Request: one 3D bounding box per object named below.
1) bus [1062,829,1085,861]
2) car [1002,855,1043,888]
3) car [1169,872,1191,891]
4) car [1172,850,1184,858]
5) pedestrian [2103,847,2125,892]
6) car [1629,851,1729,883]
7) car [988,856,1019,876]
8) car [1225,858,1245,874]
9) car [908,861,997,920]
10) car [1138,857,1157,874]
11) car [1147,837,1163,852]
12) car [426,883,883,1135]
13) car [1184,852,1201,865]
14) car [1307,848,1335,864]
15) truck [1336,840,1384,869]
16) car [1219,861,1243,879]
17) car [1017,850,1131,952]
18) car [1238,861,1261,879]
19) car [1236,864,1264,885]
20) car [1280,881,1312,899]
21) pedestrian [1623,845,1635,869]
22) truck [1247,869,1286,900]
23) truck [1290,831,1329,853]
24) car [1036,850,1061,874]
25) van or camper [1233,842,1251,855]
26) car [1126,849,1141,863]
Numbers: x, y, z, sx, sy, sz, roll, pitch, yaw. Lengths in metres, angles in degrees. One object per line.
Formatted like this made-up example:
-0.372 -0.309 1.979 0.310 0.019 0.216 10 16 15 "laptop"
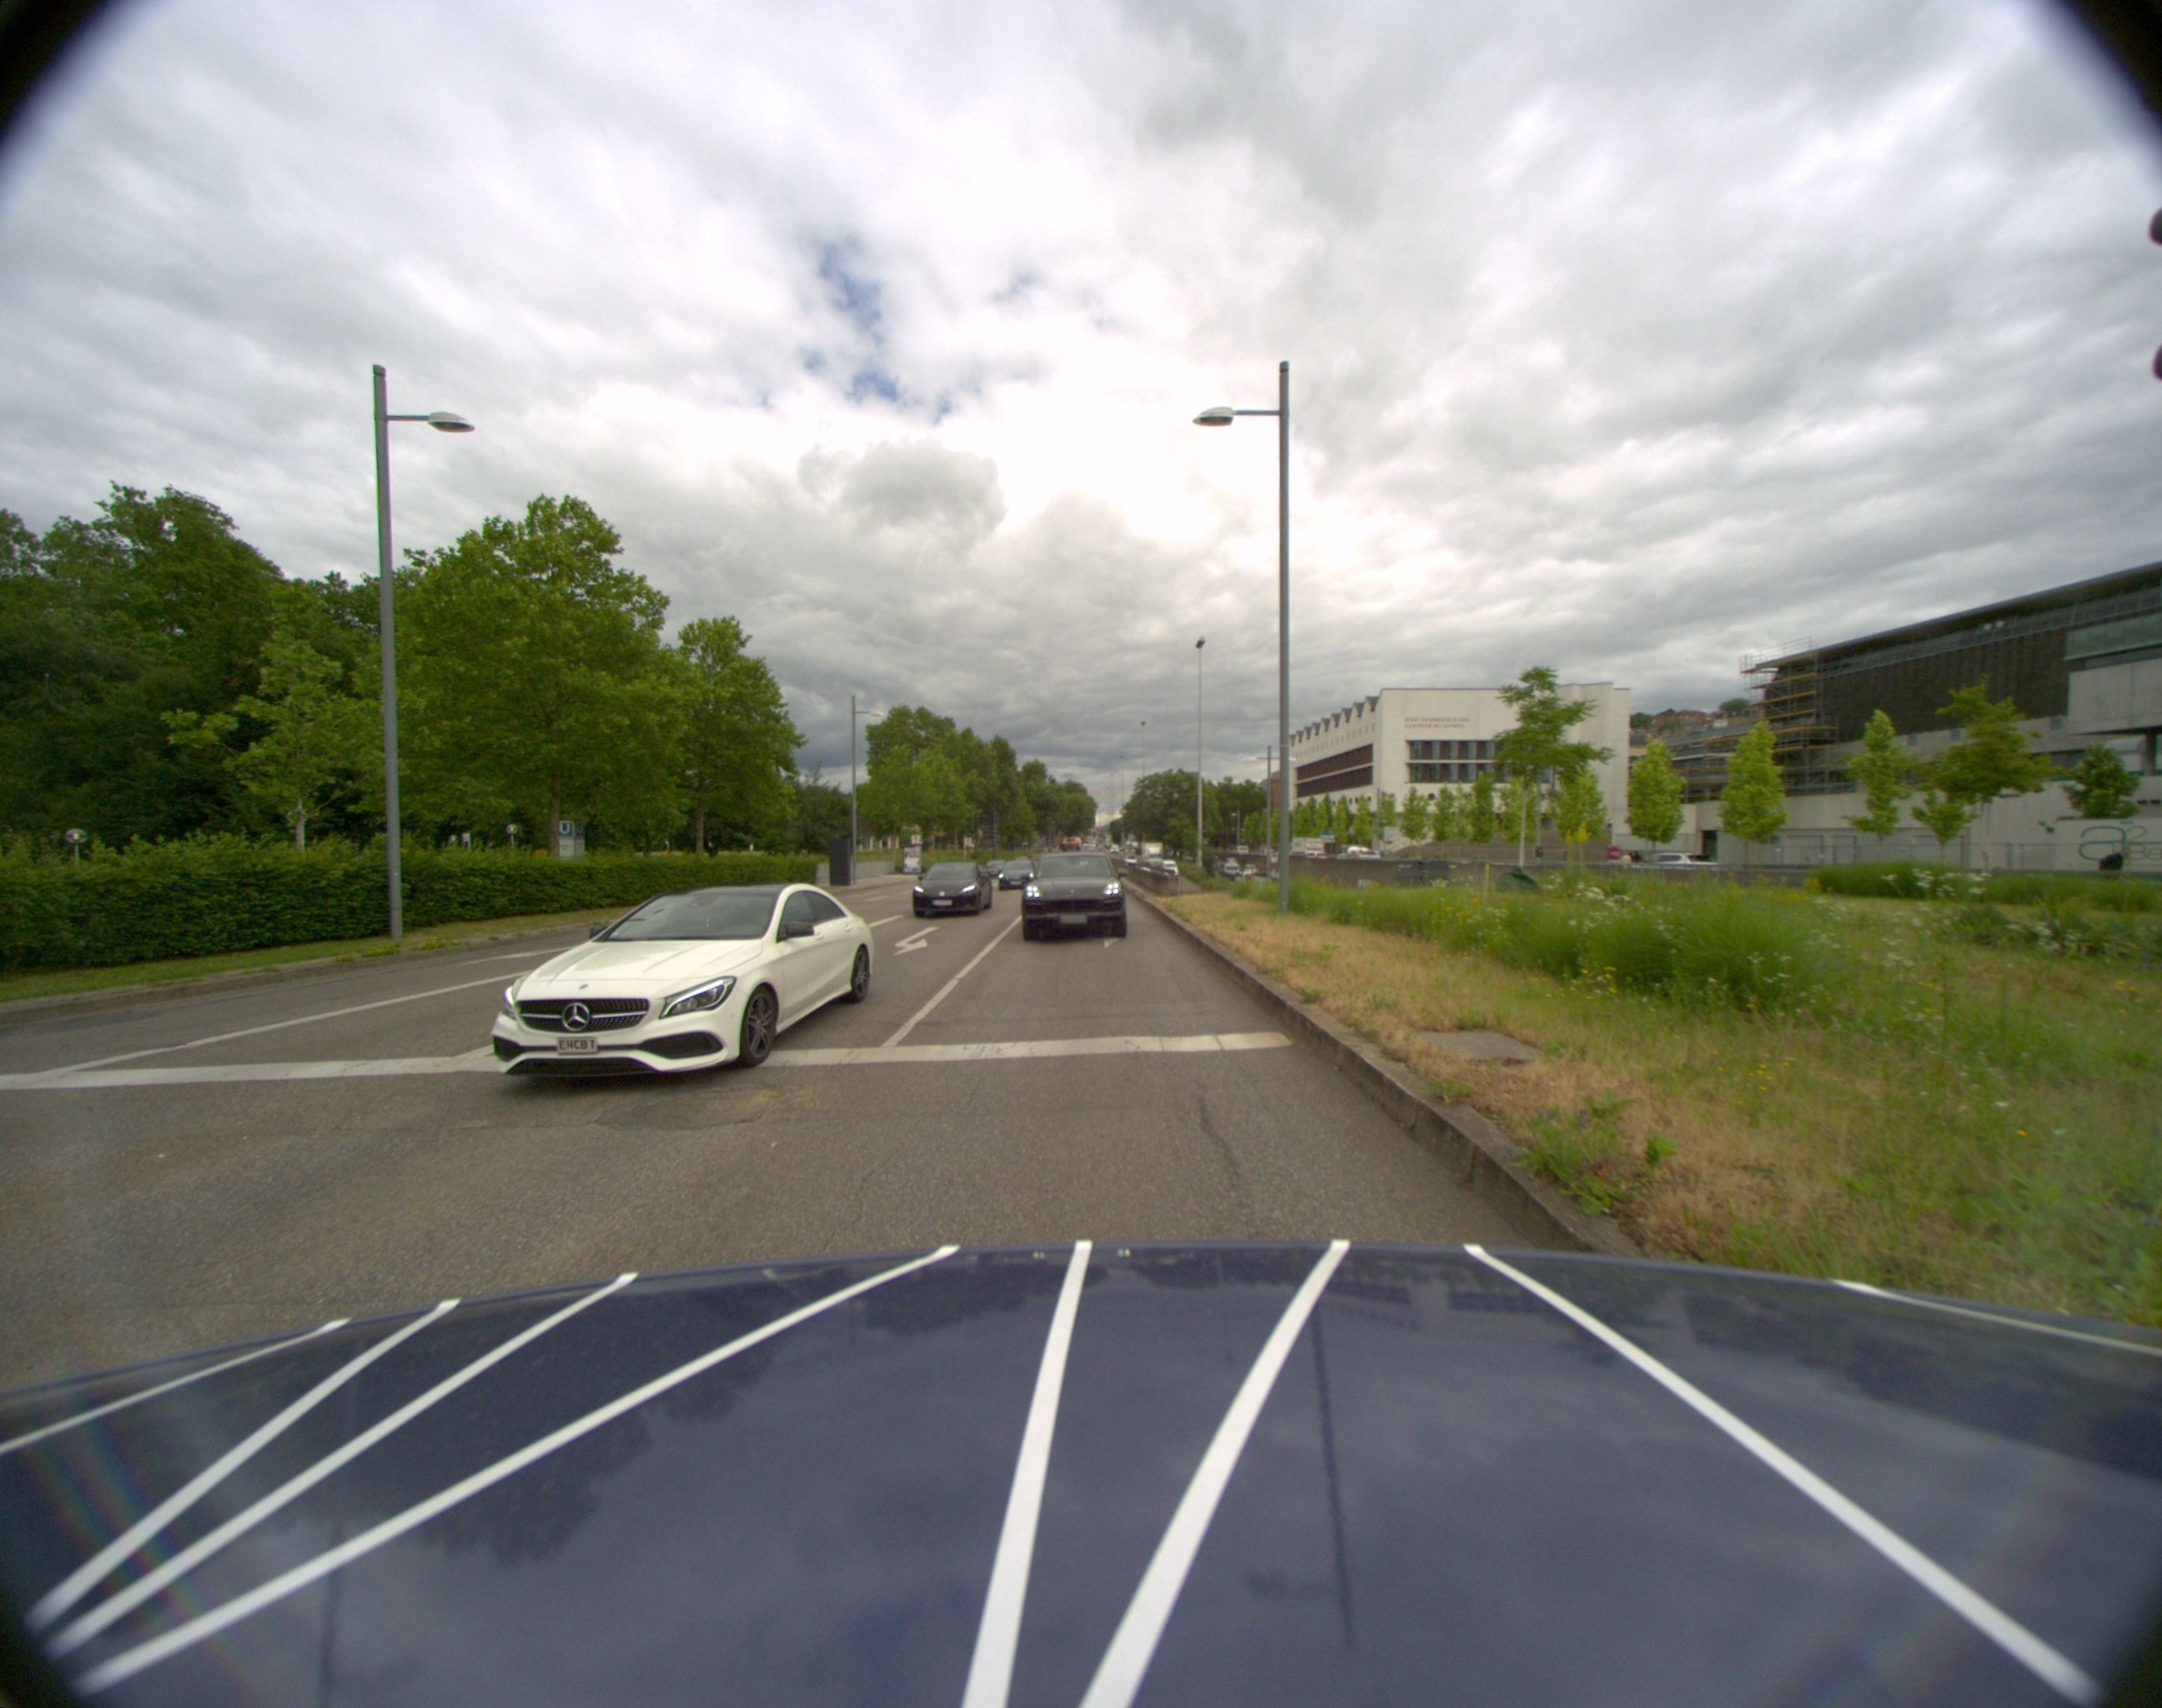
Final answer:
-1.022 -1.282 108.944 3.043 4.327 8.748 -1 0 -1 "bus"
-2.871 0.831 37.950 1.573 1.528 4.001 -1 0 2 "car"
10.861 3.033 83.663 1.998 2.001 4.001 -1 -1 1 "car"
17.602 -0.032 138.121 1.675 1.477 3.361 0 0 0 "car"
35.178 0.508 25.883 0.318 1.513 0.316 -2 1 -6 "pedestrian"
31.438 0.666 40.127 1.723 1.565 4.613 -1 -1 2 "car"
-5.892 0.906 58.033 1.867 1.412 4.000 -2 0 1 "car"
21.177 1.622 104.652 1.998 2.002 4.000 2 0 0 "car"
-3.672 0.996 22.391 1.830 1.515 4.120 -1 0 1 "car"
8.249 1.427 94.520 1.998 2.001 4.000 0 -1 0 "car"
10.711 -1.364 110.084 1.997 2.002 4.002 -2 0 9 "car"
-3.380 1.107 7.230 1.723 1.415 4.506 -1 0 1 "car"
18.258 0.738 124.622 1.998 2.119 4.852 2 0 1 "car"
28.394 0.202 89.927 1.998 1.805 4.258 -1 -1 0 "car"
28.360 0.065 77.649 2.470 2.799 7.080 -1 -1 2 "truck"
17.759 1.856 90.157 1.998 2.002 4.333 2 0 1 "car"
-0.103 0.818 15.807 1.938 1.668 4.679 -3 1 1 "car"
21.016 1.969 94.870 1.998 2.002 4.000 2 0 0 "car"
17.666 2.088 79.474 1.998 2.002 4.000 2 0 0 "car"
21.613 3.569 76.535 1.998 1.543 4.000 -2 0 0 "car"
35.599 0.207 49.370 0.428 1.513 0.461 -2 1 -6 "pedestrian"
17.440 2.794 71.768 2.324 2.675 5.979 -1 0 1 "truck"
31.113 -1.614 103.619 3.239 2.771 7.254 -1 -1 1 "truck"
-2.670 0.632 63.159 1.723 1.851 4.430 -1 0 1 "car"
26.521 -0.877 125.263 1.998 2.001 4.557 -1 -1 1 "van or camper"
7.873 0.332 114.301 1.998 2.001 4.000 0 -1 0 "car"
